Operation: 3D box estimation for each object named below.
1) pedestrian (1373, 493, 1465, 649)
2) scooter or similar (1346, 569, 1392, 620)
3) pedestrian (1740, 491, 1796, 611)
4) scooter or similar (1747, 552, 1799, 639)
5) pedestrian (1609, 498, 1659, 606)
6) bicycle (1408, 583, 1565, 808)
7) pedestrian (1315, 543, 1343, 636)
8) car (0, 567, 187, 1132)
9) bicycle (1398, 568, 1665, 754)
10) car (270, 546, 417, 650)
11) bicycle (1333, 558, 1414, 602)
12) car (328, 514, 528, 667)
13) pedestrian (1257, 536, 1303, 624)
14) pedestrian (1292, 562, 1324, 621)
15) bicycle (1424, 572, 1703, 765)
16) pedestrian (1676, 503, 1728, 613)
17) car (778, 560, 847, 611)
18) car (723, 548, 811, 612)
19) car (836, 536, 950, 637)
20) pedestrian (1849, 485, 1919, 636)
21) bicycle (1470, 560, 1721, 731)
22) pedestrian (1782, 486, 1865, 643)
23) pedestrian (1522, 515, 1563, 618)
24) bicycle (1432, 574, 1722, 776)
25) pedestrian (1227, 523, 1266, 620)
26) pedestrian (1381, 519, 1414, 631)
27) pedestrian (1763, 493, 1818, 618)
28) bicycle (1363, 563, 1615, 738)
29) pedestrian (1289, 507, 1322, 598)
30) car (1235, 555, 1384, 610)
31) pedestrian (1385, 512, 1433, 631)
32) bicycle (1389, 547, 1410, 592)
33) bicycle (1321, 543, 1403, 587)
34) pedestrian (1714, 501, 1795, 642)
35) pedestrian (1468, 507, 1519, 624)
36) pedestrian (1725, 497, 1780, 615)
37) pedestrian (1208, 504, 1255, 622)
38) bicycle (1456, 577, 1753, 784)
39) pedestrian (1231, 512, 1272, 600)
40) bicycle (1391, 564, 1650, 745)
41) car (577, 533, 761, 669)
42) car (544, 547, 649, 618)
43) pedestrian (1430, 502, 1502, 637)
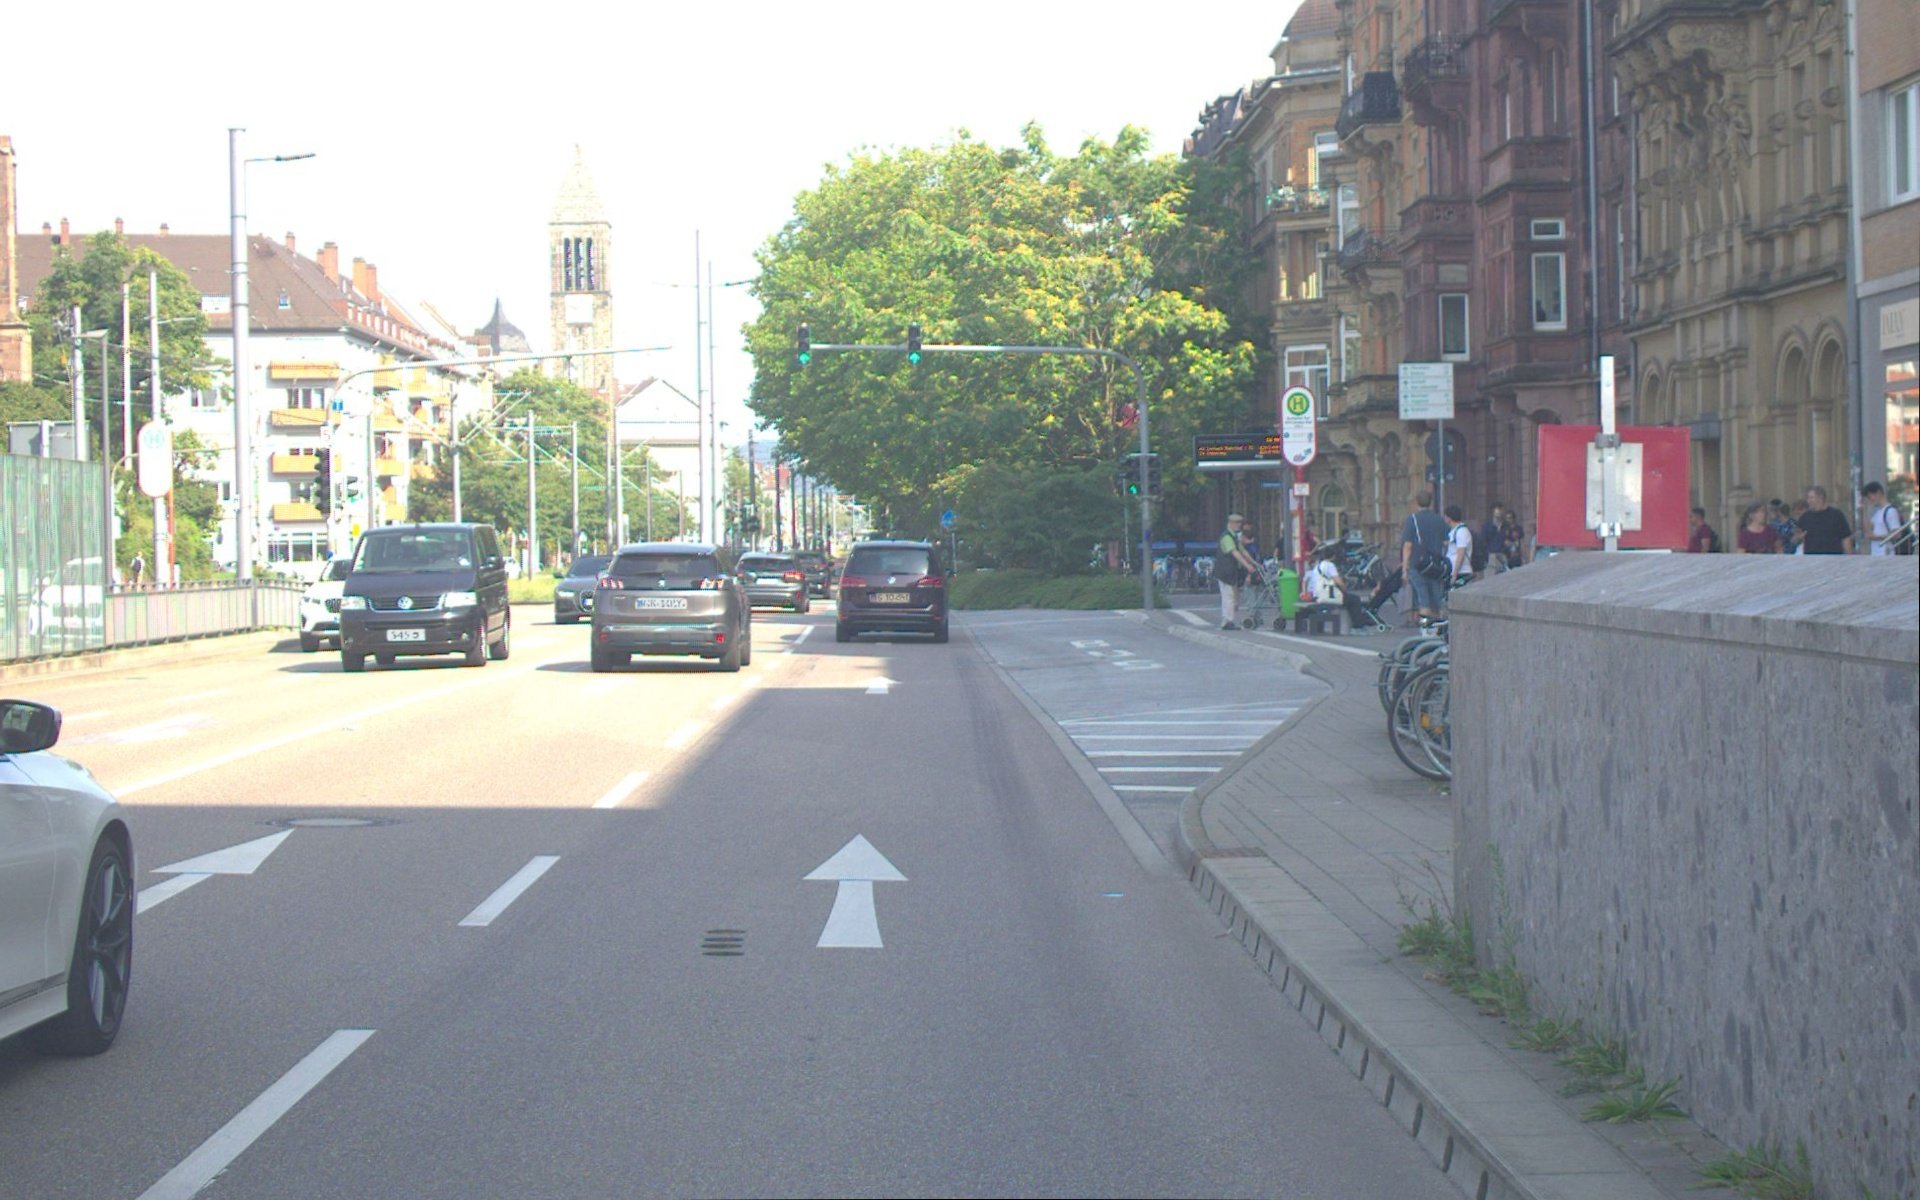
[{"bbox_3d":[5.483,-0.354,41.095,0.925,1.825,0.801,-1,1,-4],"label":"pedestrian"},{"bbox_3d":[6.020,-0.081,50.621,0.565,0.739,0.514,-1,1,-4],"label":"scooter or similar"},{"bbox_3d":[11.529,-0.697,49.058,0.603,1.686,0.587,-1,1,-4],"label":"pedestrian"},{"bbox_3d":[11.081,-0.073,46.881,0.360,1.159,1.152,-1,1,-3],"label":"scooter or similar"},{"bbox_3d":[10.817,-0.773,55.159,0.629,1.713,0.691,-1,1,-1],"label":"pedestrian"},{"bbox_3d":[2.860,0.495,18.785,0.407,1.144,1.656,-1,1,-7],"label":"bicycle"},{"bbox_3d":[5.104,-0.146,47.576,0.275,1.270,0.448,-1,1,-8],"label":"pedestrian"},{"bbox_3d":[-3.373,0.653,8.480,1.809,1.422,4.775,1,1,0],"label":"car"},{"bbox_3d":[3.673,0.386,22.124,1.632,1.144,0.385,-1,1,-5],"label":"bicycle"},{"bbox_3d":[-10.407,-0.069,58.303,1.713,1.606,4.505,-2,1,-1],"label":"car"},{"bbox_3d":[10.331,-0.506,85.991,1.927,1.044,0.500,-1,1,-6],"label":"bicycle"},{"bbox_3d":[-7.152,-0.167,46.688,1.993,1.898,4.716,-2,1,-1],"label":"car"},{"bbox_3d":[4.715,-0.298,50.702,0.565,1.273,0.597,-1,1,-5],"label":"pedestrian"},{"bbox_3d":[4.953,-0.120,48.936,0.303,0.817,0.604,-1,1,-8],"label":"pedestrian"},{"bbox_3d":[3.728,0.416,21.264,1.632,1.144,0.385,-1,1,-5],"label":"bicycle"},{"bbox_3d":[11.176,-0.634,51.810,0.603,1.649,0.587,-1,1,-4],"label":"pedestrian"},{"bbox_3d":[-4.333,-0.456,101.482,1.864,1.419,4.357,0,1,0],"label":"car"},{"bbox_3d":[-4.536,-0.491,81.294,1.864,1.419,4.357,0,1,0],"label":"car"},{"bbox_3d":[-1.107,-0.257,57.694,1.831,1.615,4.357,0,1,0],"label":"car"},{"bbox_3d":[11.287,-0.485,41.978,0.603,1.825,0.742,-1,1,-4],"label":"pedestrian"},{"bbox_3d":[4.435,0.309,24.048,1.633,1.144,0.601,-1,1,1],"label":"bicycle"},{"bbox_3d":[9.987,-0.413,39.775,0.720,1.781,0.856,-1,1,0],"label":"pedestrian"},{"bbox_3d":[9.155,-0.527,54.015,0.486,1.605,0.813,-1,1,0],"label":"pedestrian"},{"bbox_3d":[3.660,0.437,20.425,1.632,1.144,0.385,-1,1,-5],"label":"bicycle"},{"bbox_3d":[4.826,-0.483,57.914,0.528,1.606,0.703,-1,1,-4],"label":"pedestrian"},{"bbox_3d":[6.850,-0.395,53.816,0.341,1.726,0.806,-1,1,-4],"label":"pedestrian"},{"bbox_3d":[11.586,-0.625,47.974,0.603,1.725,0.511,-1,1,-4],"label":"pedestrian"},{"bbox_3d":[3.602,0.339,23.422,1.632,1.144,0.385,-1,1,-5],"label":"bicycle"},{"bbox_3d":[6.501,-0.903,64.728,0.481,1.696,0.703,-1,1,-4],"label":"pedestrian"},{"bbox_3d":[10.604,-0.545,104.432,4.179,1.558,2.000,-1,1,-5],"label":"car"},{"bbox_3d":[6.612,-0.424,50.631,0.565,1.723,0.617,-1,1,-4],"label":"pedestrian"},{"bbox_3d":[10.667,-0.744,83.497,0.416,1.044,1.670,-1,1,4],"label":"bicycle"},{"bbox_3d":[9.948,-0.868,85.058,1.927,1.044,0.500,-1,1,-6],"label":"bicycle"},{"bbox_3d":[9.210,-0.338,39.868,0.720,1.605,0.856,-1,1,0],"label":"pedestrian"},{"bbox_3d":[8.371,-0.547,53.997,0.617,1.798,1.071,-1,1,0],"label":"pedestrian"},{"bbox_3d":[11.473,-0.636,49.796,0.603,1.686,0.587,-1,1,-4],"label":"pedestrian"},{"bbox_3d":[4.005,-0.554,50.717,0.565,1.723,0.745,-1,1,-4],"label":"pedestrian"},{"bbox_3d":[3.733,0.458,19.937,1.632,1.144,0.385,-1,1,-5],"label":"bicycle"},{"bbox_3d":[5.532,-0.839,65.293,0.690,1.658,0.619,-1,1,0],"label":"pedestrian"},{"bbox_3d":[3.708,0.354,22.777,1.632,1.144,0.385,-1,1,-5],"label":"bicycle"},{"bbox_3d":[-3.633,-0.026,43.654,1.993,1.615,4.357,0,1,0],"label":"car"},{"bbox_3d":[-7.475,-0.383,71.029,1.713,1.326,4.521,-2,1,-1],"label":"car"},{"bbox_3d":[6.573,-0.403,44.700,0.749,1.723,0.801,-1,1,-4],"label":"pedestrian"}]
